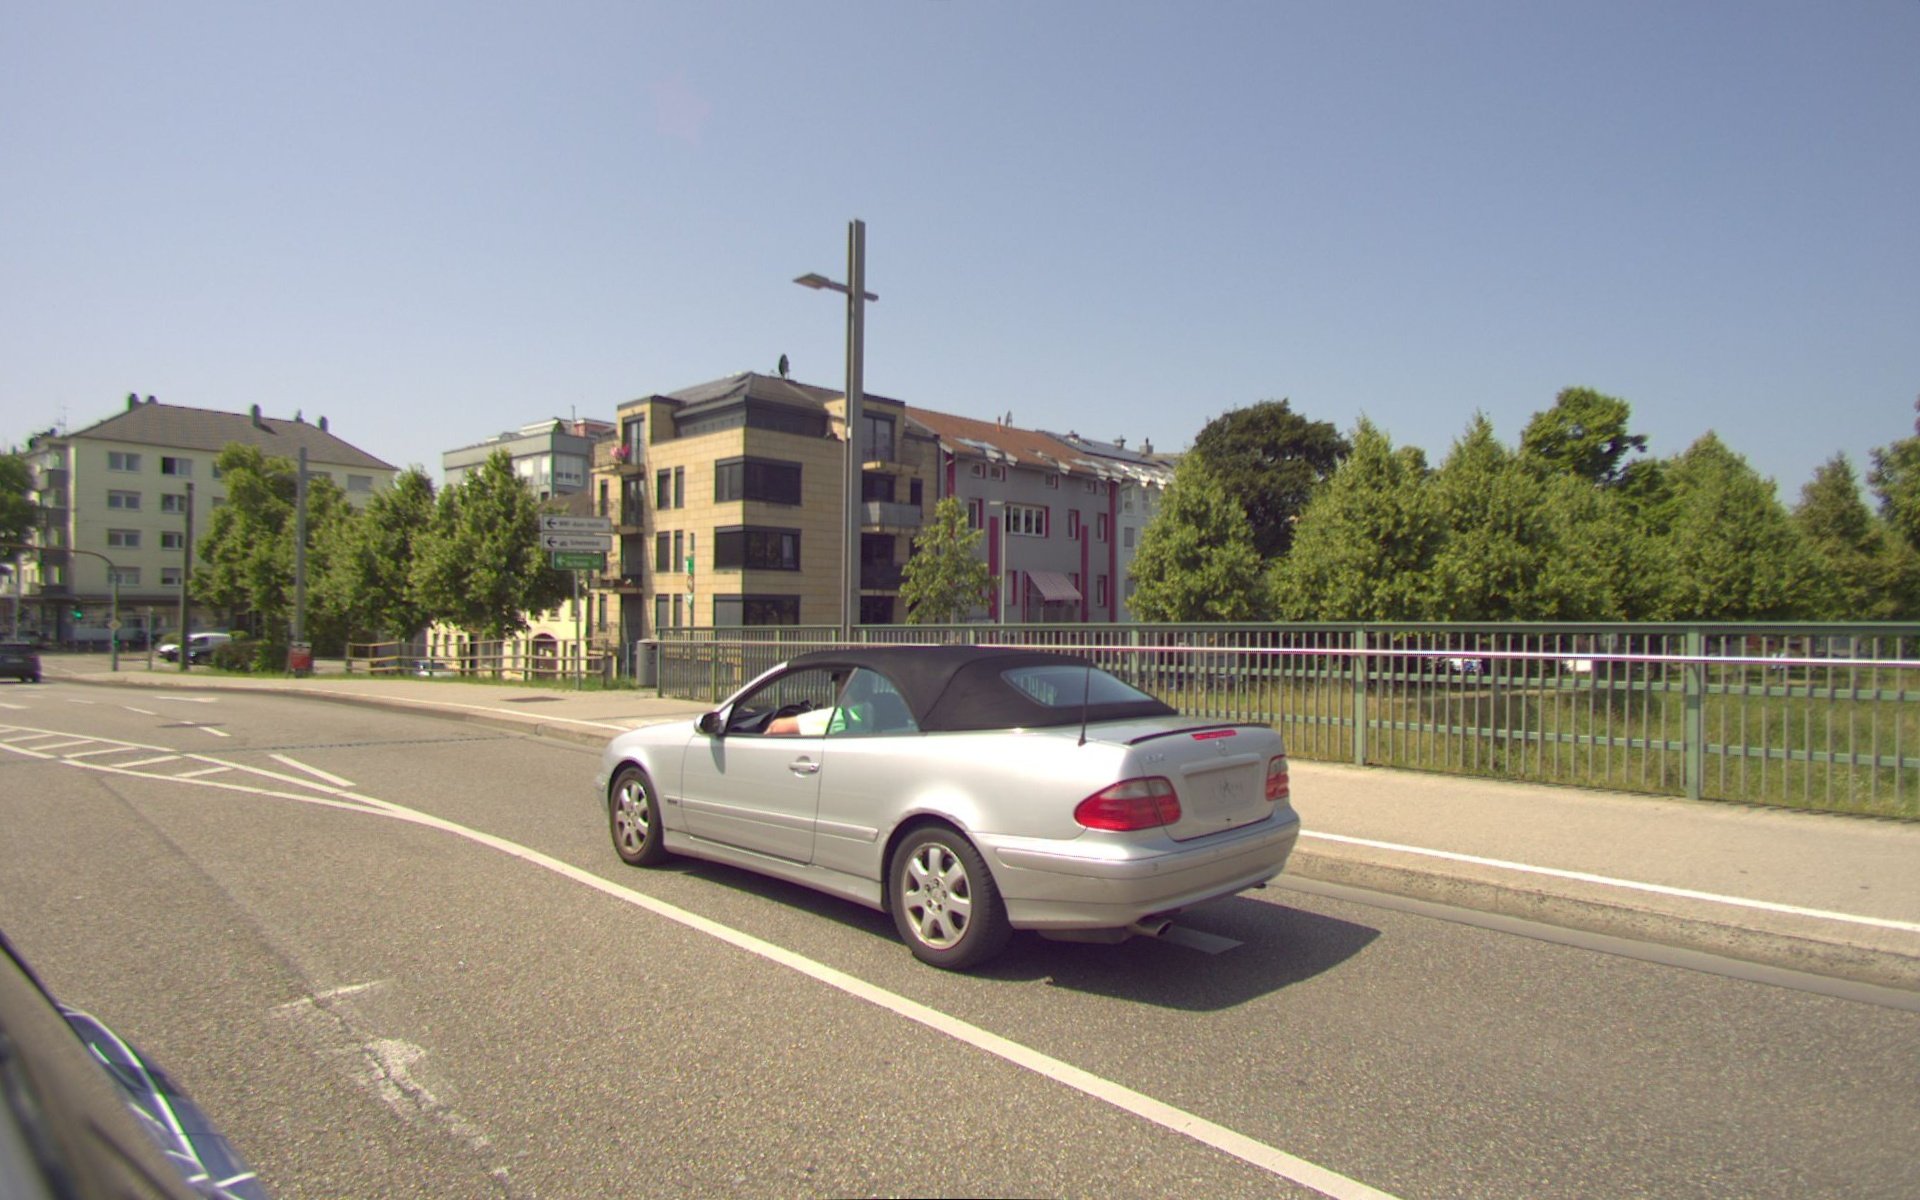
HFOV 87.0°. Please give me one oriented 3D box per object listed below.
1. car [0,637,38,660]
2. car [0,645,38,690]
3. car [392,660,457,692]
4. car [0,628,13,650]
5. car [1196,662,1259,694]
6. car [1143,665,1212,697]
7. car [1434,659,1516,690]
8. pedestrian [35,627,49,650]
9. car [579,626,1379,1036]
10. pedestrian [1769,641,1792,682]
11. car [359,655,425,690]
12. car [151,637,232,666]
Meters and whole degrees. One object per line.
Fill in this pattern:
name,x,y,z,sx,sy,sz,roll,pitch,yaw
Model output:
car,-68.294,3.488,73.255,3.933,1.470,1.568,0,-1,37
car,-37.987,2.624,40.075,3.919,1.653,1.718,-1,-4,41
car,-28.051,3.941,52.956,4.431,1.443,1.756,-2,-1,45
car,-74.632,3.024,78.042,4.832,1.581,1.607,0,-1,37
car,15.847,4.598,59.949,2.000,1.662,3.943,-2,-2,43
car,11.964,4.416,55.632,2.000,1.662,3.943,-2,-3,43
car,30.462,4.384,59.936,3.998,1.662,1.972,-1,-3,41
pedestrian,-68.855,2.880,75.899,0.741,1.773,0.621,0,-1,37
car,-0.262,0.886,5.587,4.457,1.369,1.679,-3,-5,44
pedestrian,41.506,3.098,51.200,0.883,2.029,0.716,0,1,41
car,-31.853,4.053,56.719,5.289,1.641,1.794,0,-3,45
car,-48.664,3.286,64.146,1.890,1.748,3.653,0,-3,35
